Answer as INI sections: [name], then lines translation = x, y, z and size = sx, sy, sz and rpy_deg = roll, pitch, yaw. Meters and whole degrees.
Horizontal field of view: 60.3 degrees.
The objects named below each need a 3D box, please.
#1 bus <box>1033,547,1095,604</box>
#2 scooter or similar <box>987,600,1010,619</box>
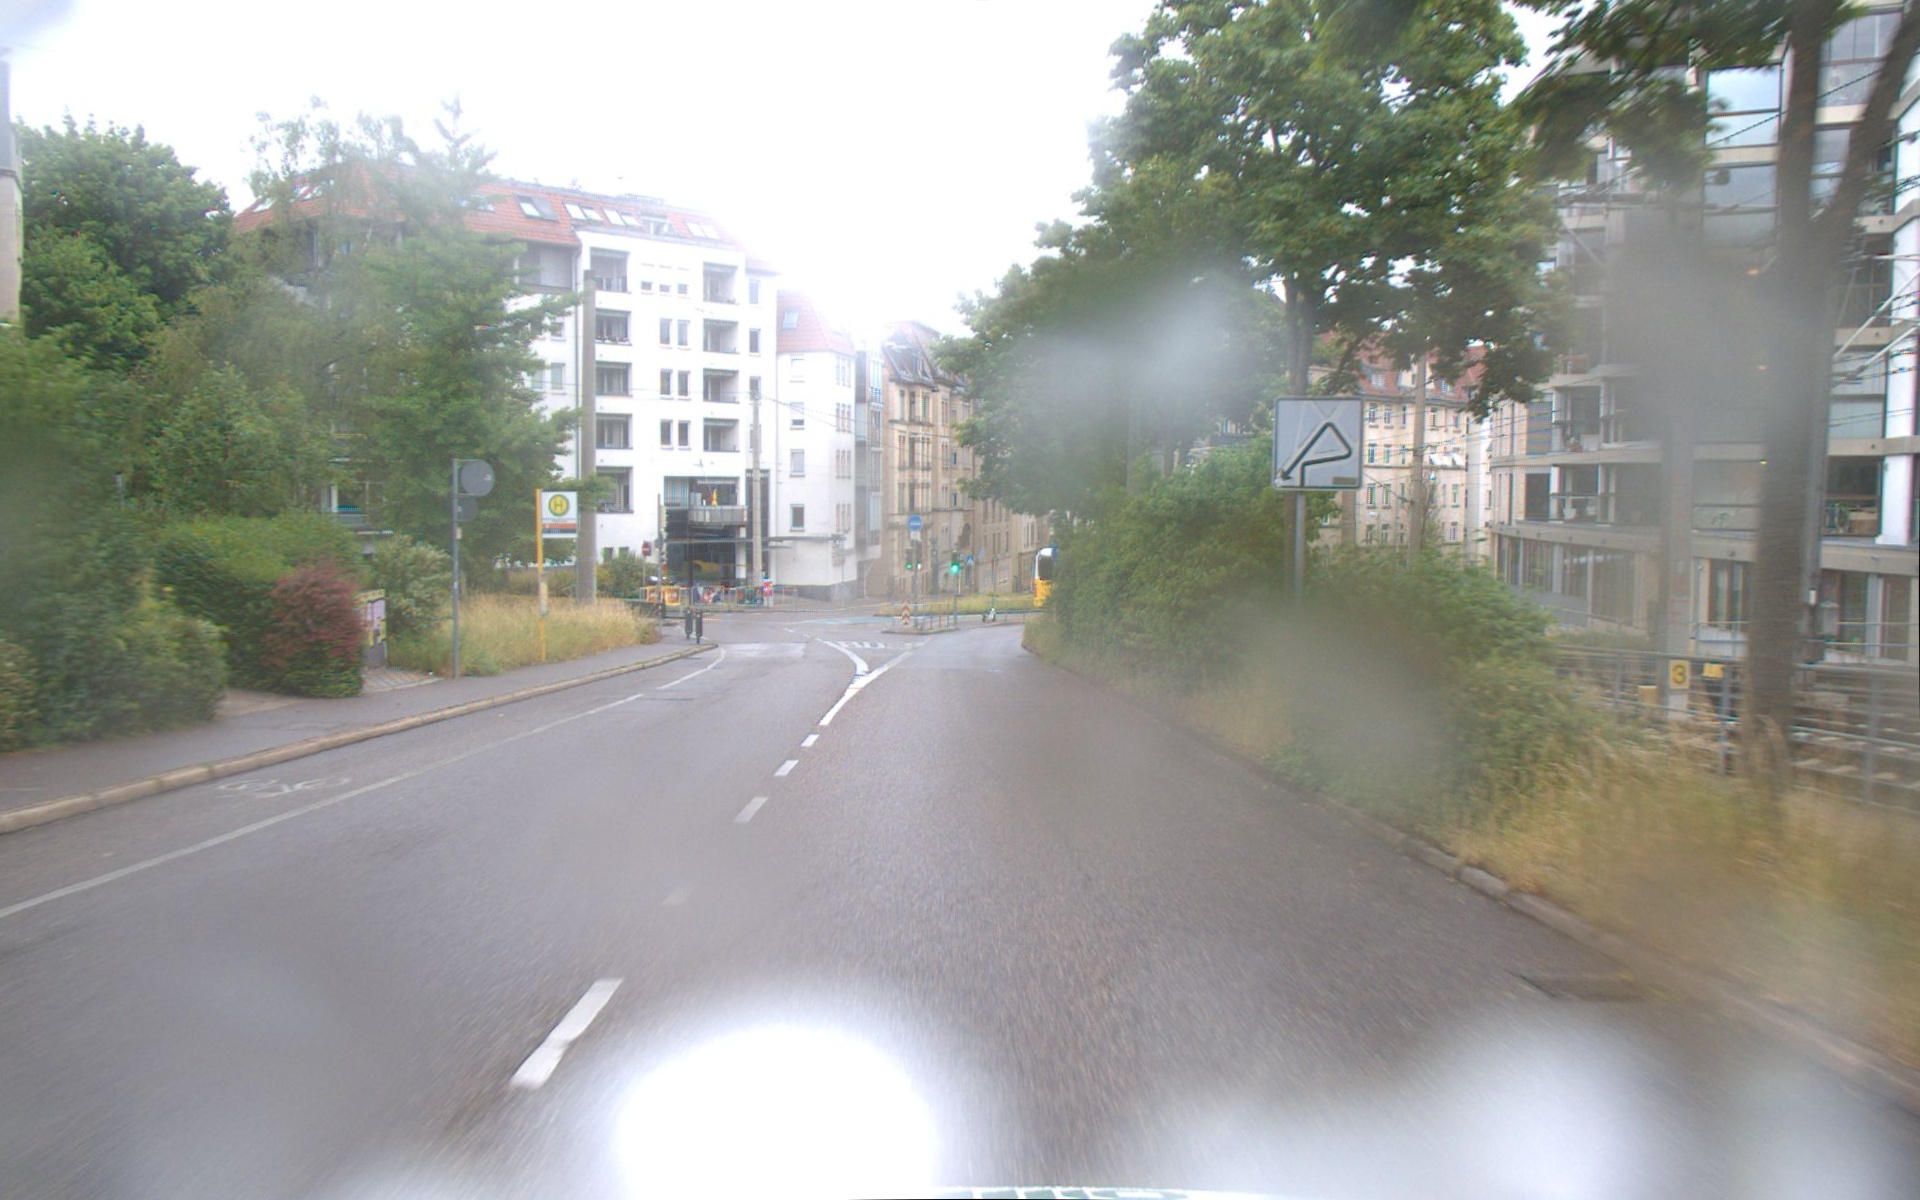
[bus]
translation = 5.432, -1.261, 86.278
size = 1.954, 2.921, 3.998
rpy_deg = 0, 0, 24
[scooter or similar]
translation = 1.661, 0.410, 71.444
size = 0.475, 0.774, 1.328
rpy_deg = 0, 0, 26
